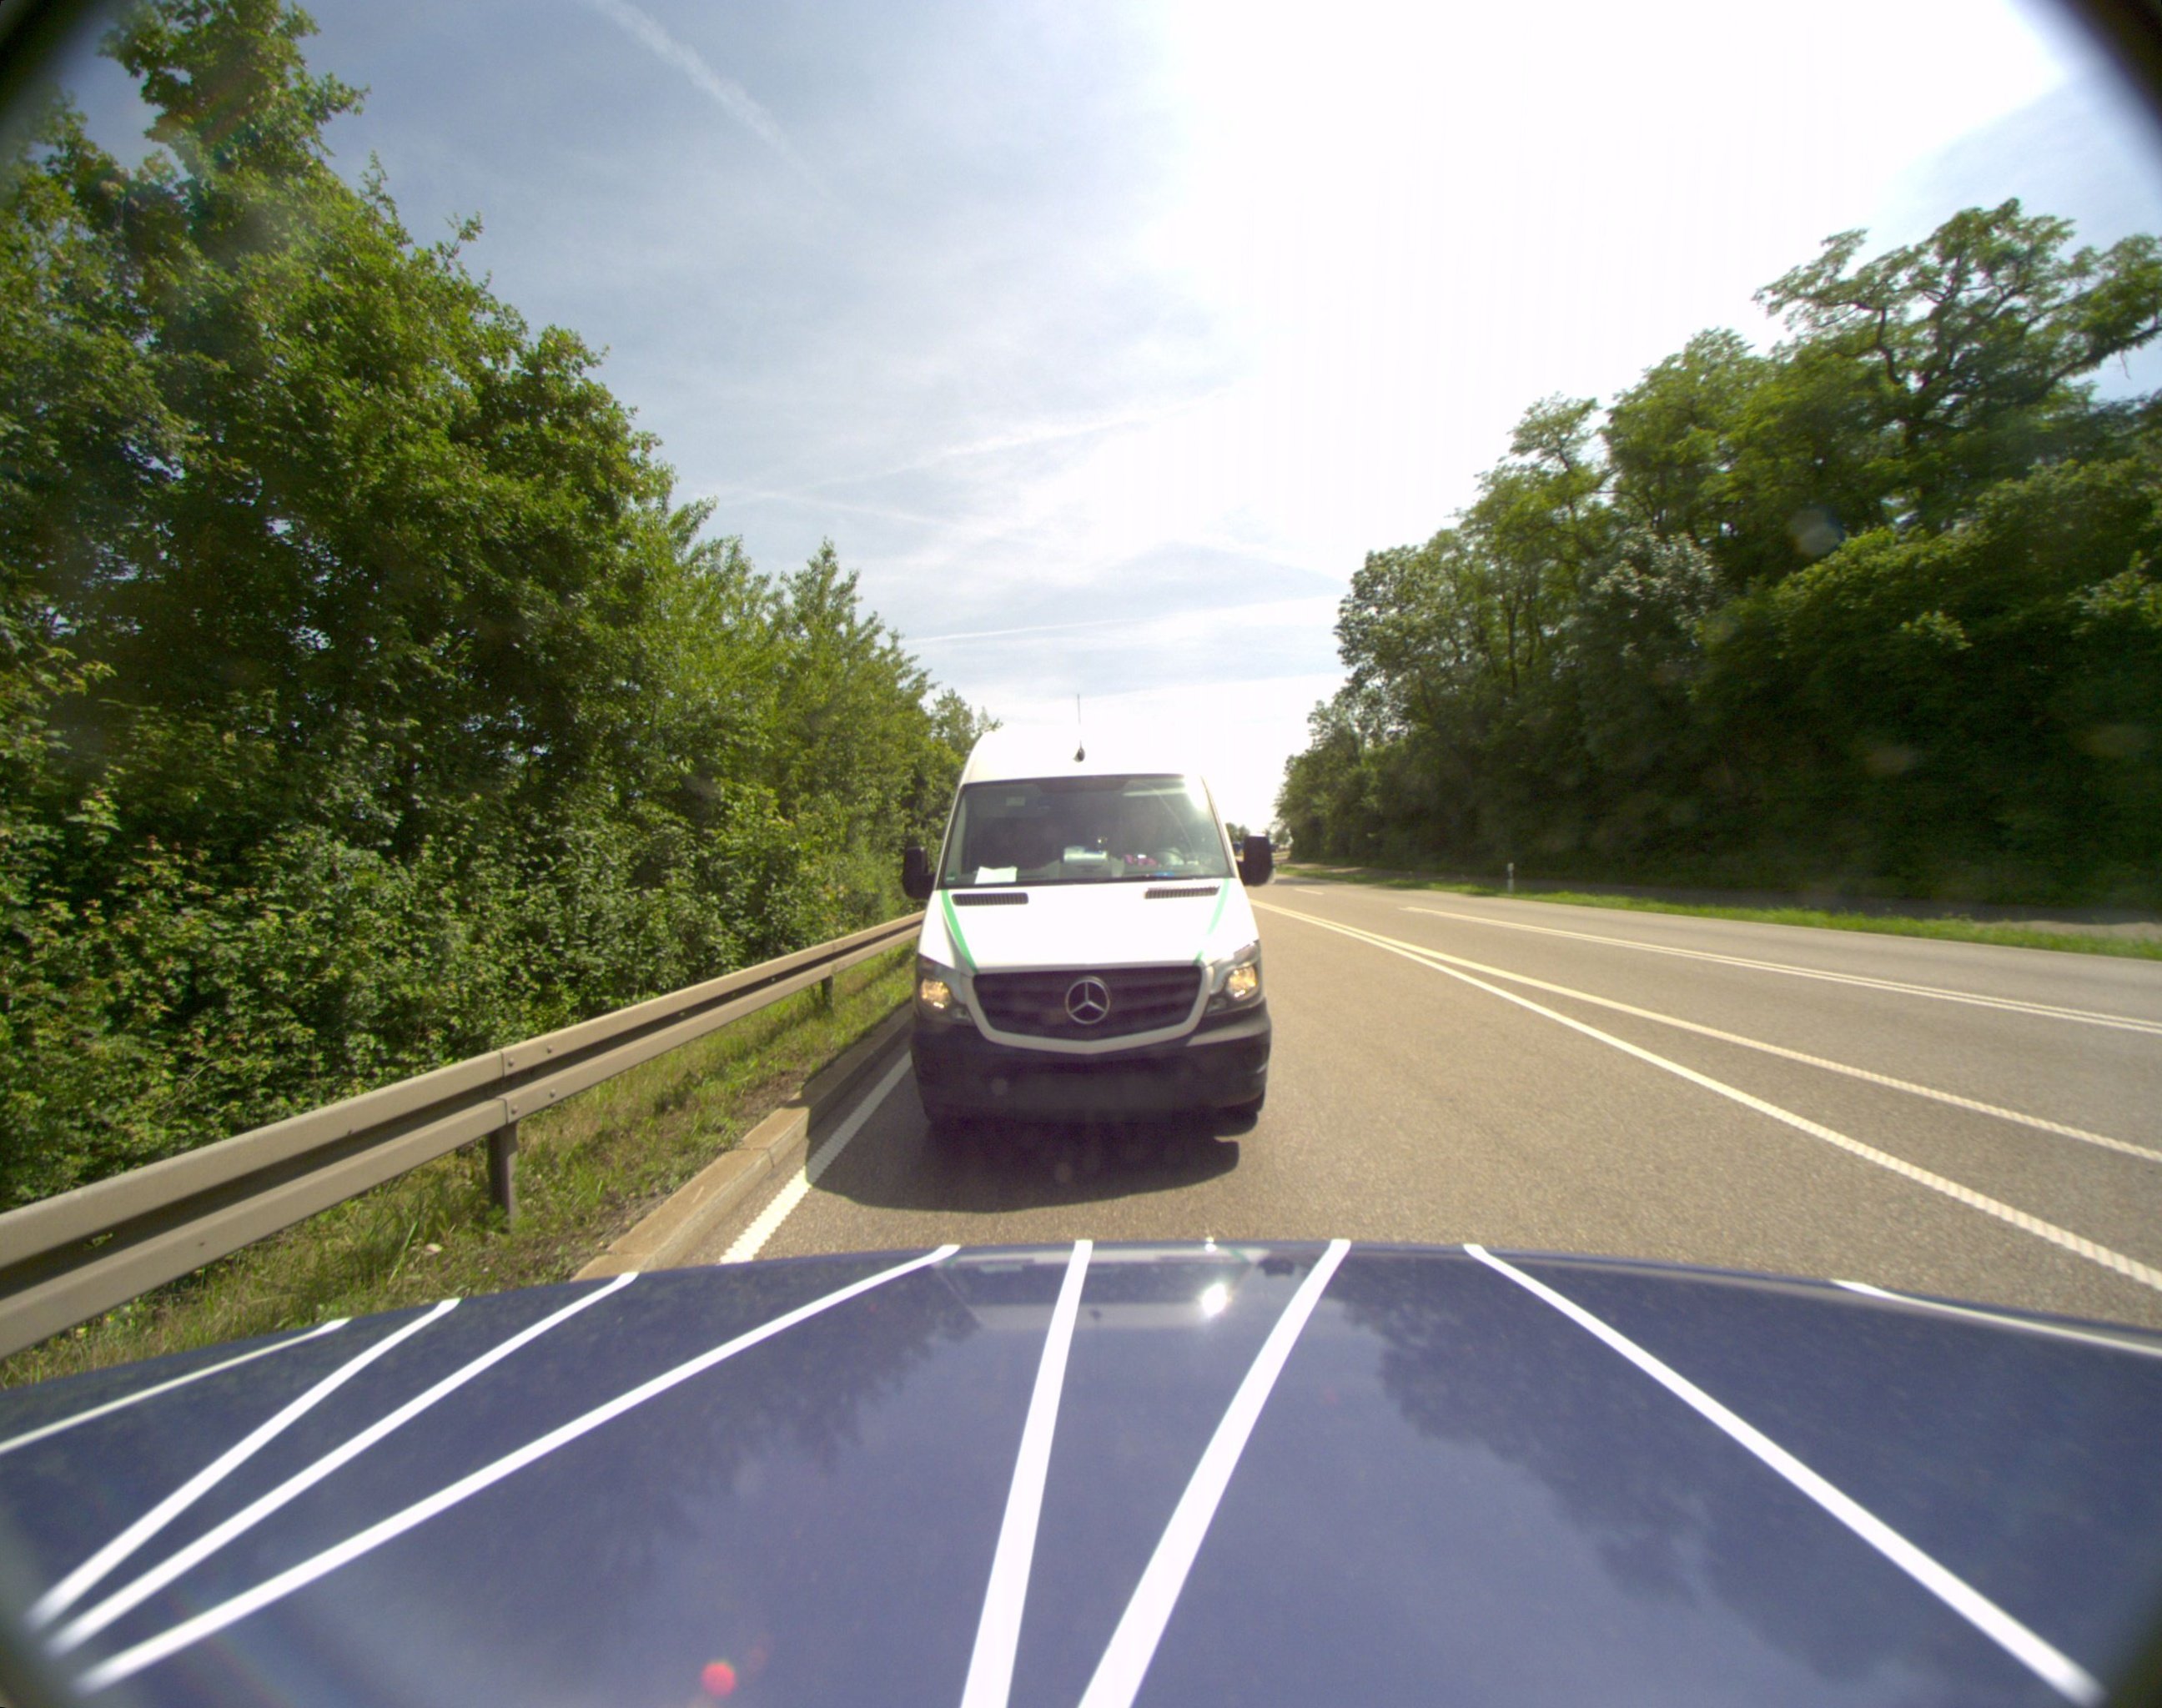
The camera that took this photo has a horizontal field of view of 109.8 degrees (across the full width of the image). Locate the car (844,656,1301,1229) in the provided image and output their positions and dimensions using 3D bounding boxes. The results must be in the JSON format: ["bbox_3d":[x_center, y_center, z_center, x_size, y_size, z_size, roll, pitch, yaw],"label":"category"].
[{"bbox_3d":[0.044,0.408,6.022,1.958,2.502,5.267,-2,0,2],"label":"car"}]

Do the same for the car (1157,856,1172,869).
[{"bbox_3d":[13.032,1.348,118.506,1.765,1.849,3.812,-2,1,12],"label":"car"}]

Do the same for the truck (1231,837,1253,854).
[{"bbox_3d":[44.615,-2.443,210.272,4.392,4.433,14.729,-2,0,17],"label":"truck"}]

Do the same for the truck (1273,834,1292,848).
[{"bbox_3d":[66.655,-4.342,250.900,3.980,4.433,14.363,-2,0,23],"label":"truck"}]
